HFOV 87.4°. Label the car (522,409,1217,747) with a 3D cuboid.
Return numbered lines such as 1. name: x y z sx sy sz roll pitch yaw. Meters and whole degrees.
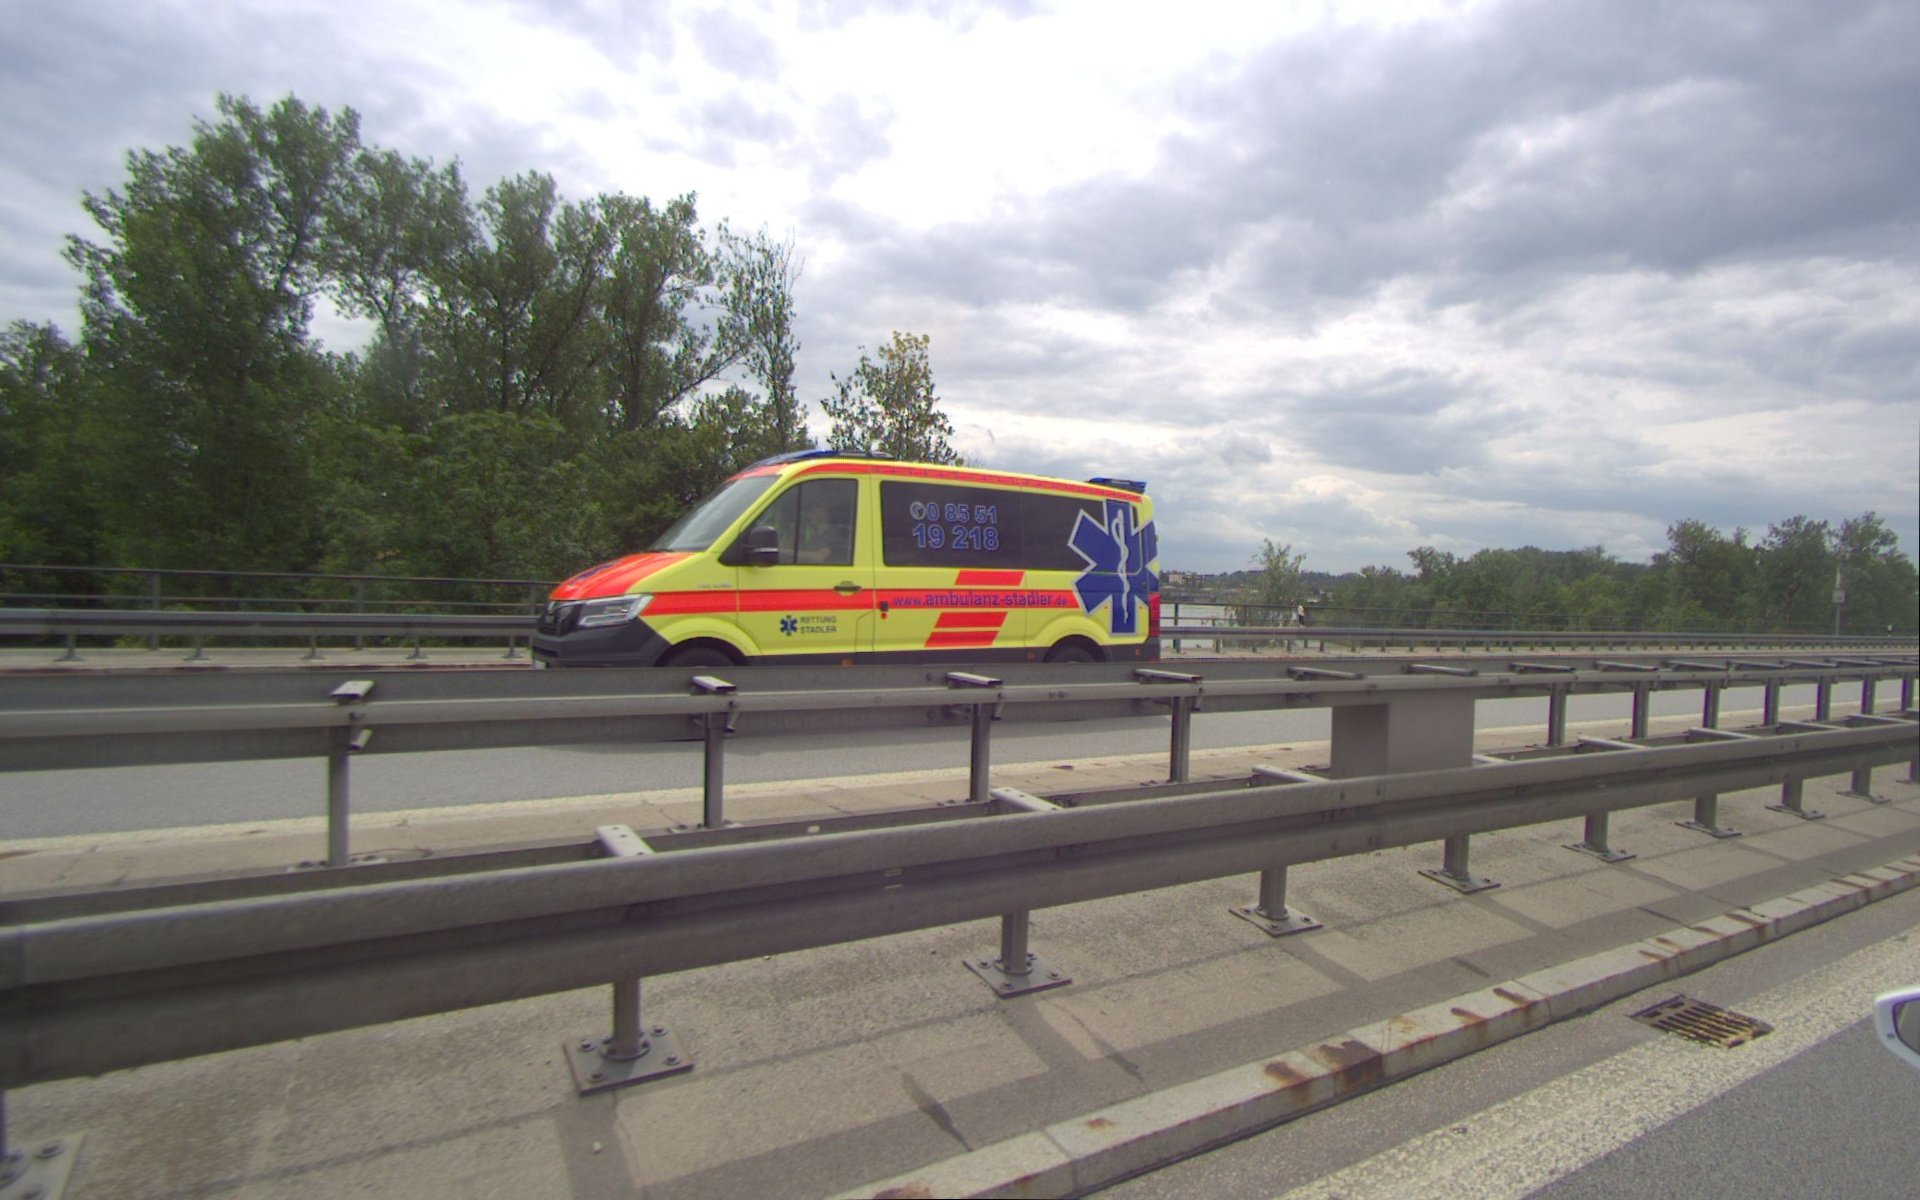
1. car: -0.544 -0.102 9.496 6.330 2.323 1.981 2 1 -33
